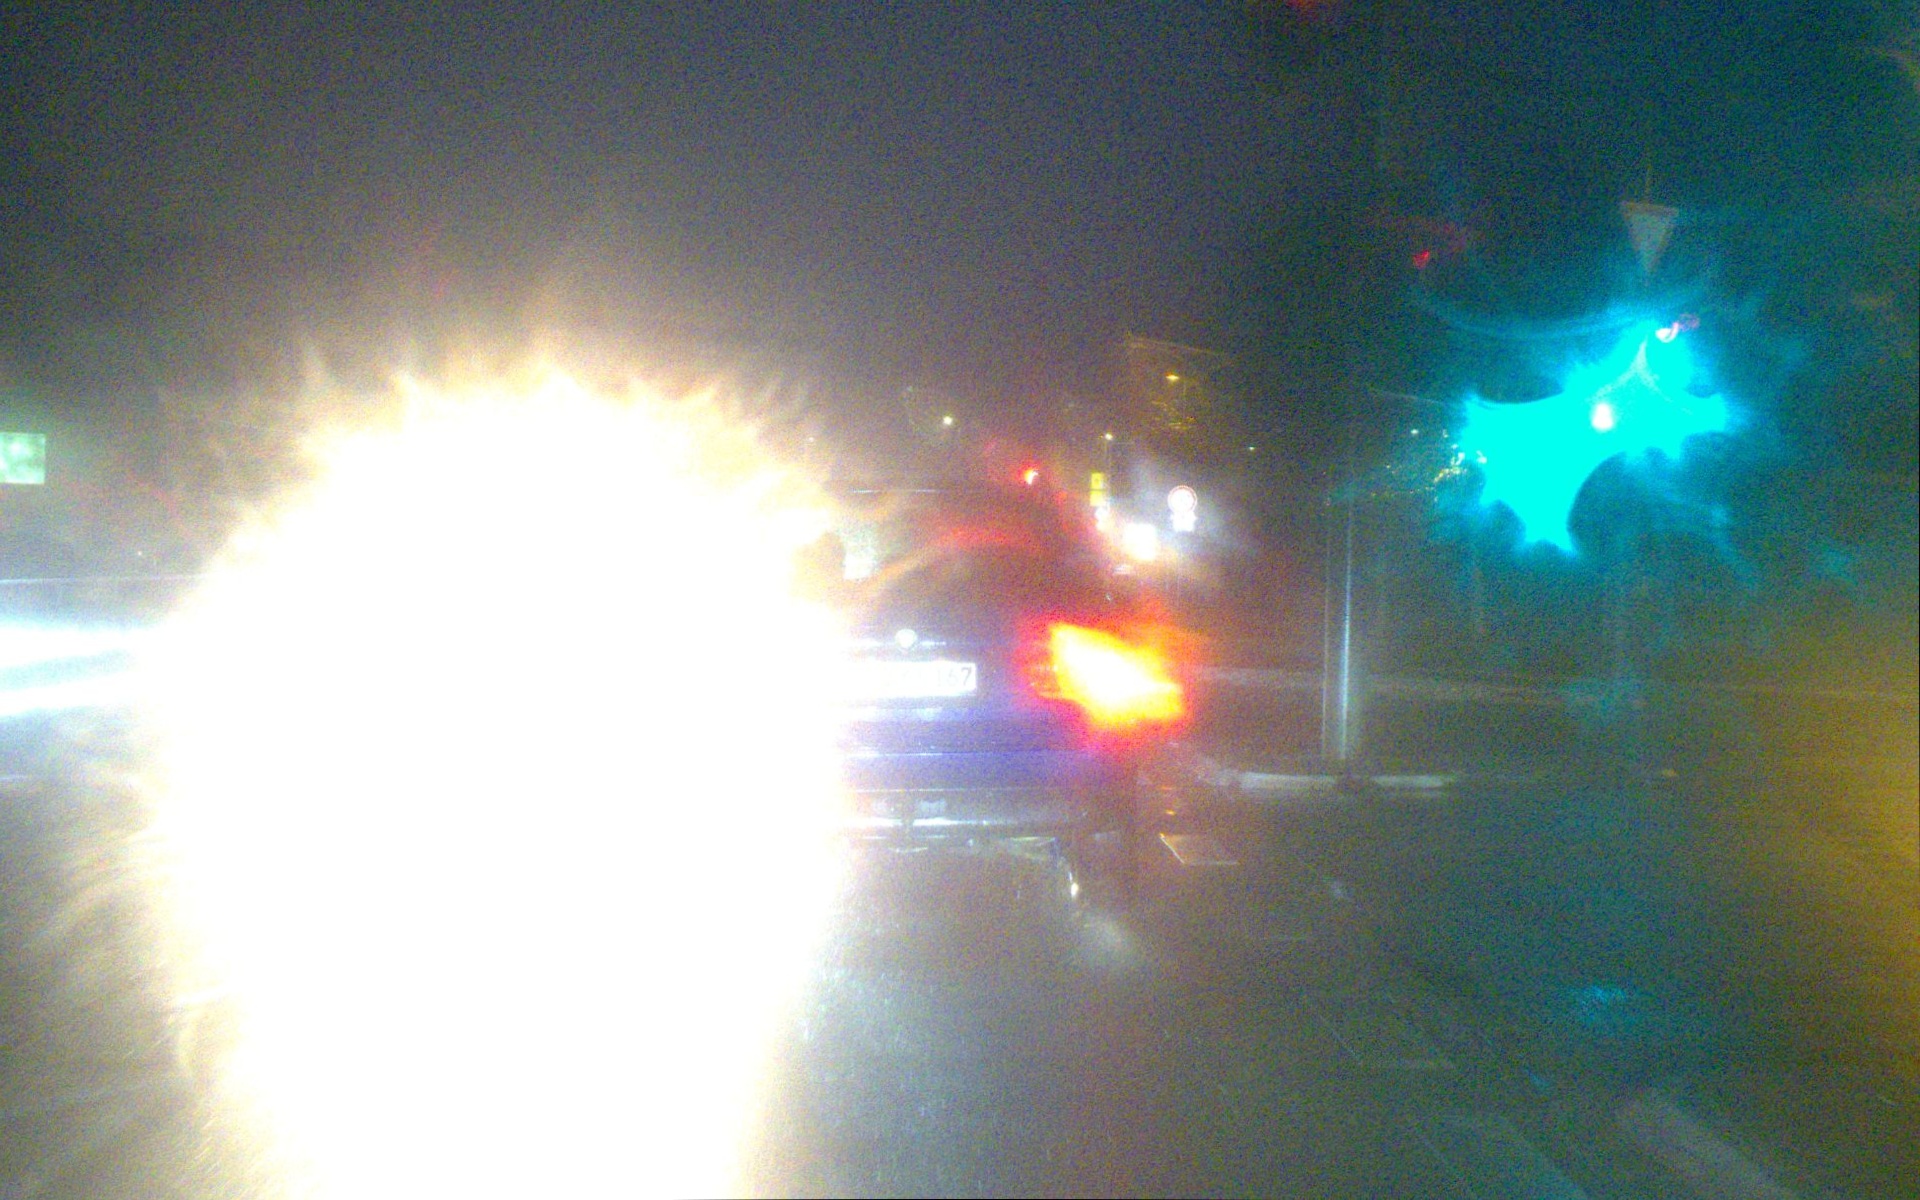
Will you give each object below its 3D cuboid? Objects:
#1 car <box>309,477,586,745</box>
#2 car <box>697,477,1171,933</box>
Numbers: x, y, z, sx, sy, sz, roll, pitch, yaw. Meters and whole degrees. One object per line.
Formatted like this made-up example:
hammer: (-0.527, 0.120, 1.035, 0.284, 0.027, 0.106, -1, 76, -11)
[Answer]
car: (-4.110, 0.123, 28.130, 1.993, 2.007, 4.000, -1, -1, -5)
car: (-0.174, 0.366, 14.905, 1.775, 1.706, 4.000, 0, 1, -2)
